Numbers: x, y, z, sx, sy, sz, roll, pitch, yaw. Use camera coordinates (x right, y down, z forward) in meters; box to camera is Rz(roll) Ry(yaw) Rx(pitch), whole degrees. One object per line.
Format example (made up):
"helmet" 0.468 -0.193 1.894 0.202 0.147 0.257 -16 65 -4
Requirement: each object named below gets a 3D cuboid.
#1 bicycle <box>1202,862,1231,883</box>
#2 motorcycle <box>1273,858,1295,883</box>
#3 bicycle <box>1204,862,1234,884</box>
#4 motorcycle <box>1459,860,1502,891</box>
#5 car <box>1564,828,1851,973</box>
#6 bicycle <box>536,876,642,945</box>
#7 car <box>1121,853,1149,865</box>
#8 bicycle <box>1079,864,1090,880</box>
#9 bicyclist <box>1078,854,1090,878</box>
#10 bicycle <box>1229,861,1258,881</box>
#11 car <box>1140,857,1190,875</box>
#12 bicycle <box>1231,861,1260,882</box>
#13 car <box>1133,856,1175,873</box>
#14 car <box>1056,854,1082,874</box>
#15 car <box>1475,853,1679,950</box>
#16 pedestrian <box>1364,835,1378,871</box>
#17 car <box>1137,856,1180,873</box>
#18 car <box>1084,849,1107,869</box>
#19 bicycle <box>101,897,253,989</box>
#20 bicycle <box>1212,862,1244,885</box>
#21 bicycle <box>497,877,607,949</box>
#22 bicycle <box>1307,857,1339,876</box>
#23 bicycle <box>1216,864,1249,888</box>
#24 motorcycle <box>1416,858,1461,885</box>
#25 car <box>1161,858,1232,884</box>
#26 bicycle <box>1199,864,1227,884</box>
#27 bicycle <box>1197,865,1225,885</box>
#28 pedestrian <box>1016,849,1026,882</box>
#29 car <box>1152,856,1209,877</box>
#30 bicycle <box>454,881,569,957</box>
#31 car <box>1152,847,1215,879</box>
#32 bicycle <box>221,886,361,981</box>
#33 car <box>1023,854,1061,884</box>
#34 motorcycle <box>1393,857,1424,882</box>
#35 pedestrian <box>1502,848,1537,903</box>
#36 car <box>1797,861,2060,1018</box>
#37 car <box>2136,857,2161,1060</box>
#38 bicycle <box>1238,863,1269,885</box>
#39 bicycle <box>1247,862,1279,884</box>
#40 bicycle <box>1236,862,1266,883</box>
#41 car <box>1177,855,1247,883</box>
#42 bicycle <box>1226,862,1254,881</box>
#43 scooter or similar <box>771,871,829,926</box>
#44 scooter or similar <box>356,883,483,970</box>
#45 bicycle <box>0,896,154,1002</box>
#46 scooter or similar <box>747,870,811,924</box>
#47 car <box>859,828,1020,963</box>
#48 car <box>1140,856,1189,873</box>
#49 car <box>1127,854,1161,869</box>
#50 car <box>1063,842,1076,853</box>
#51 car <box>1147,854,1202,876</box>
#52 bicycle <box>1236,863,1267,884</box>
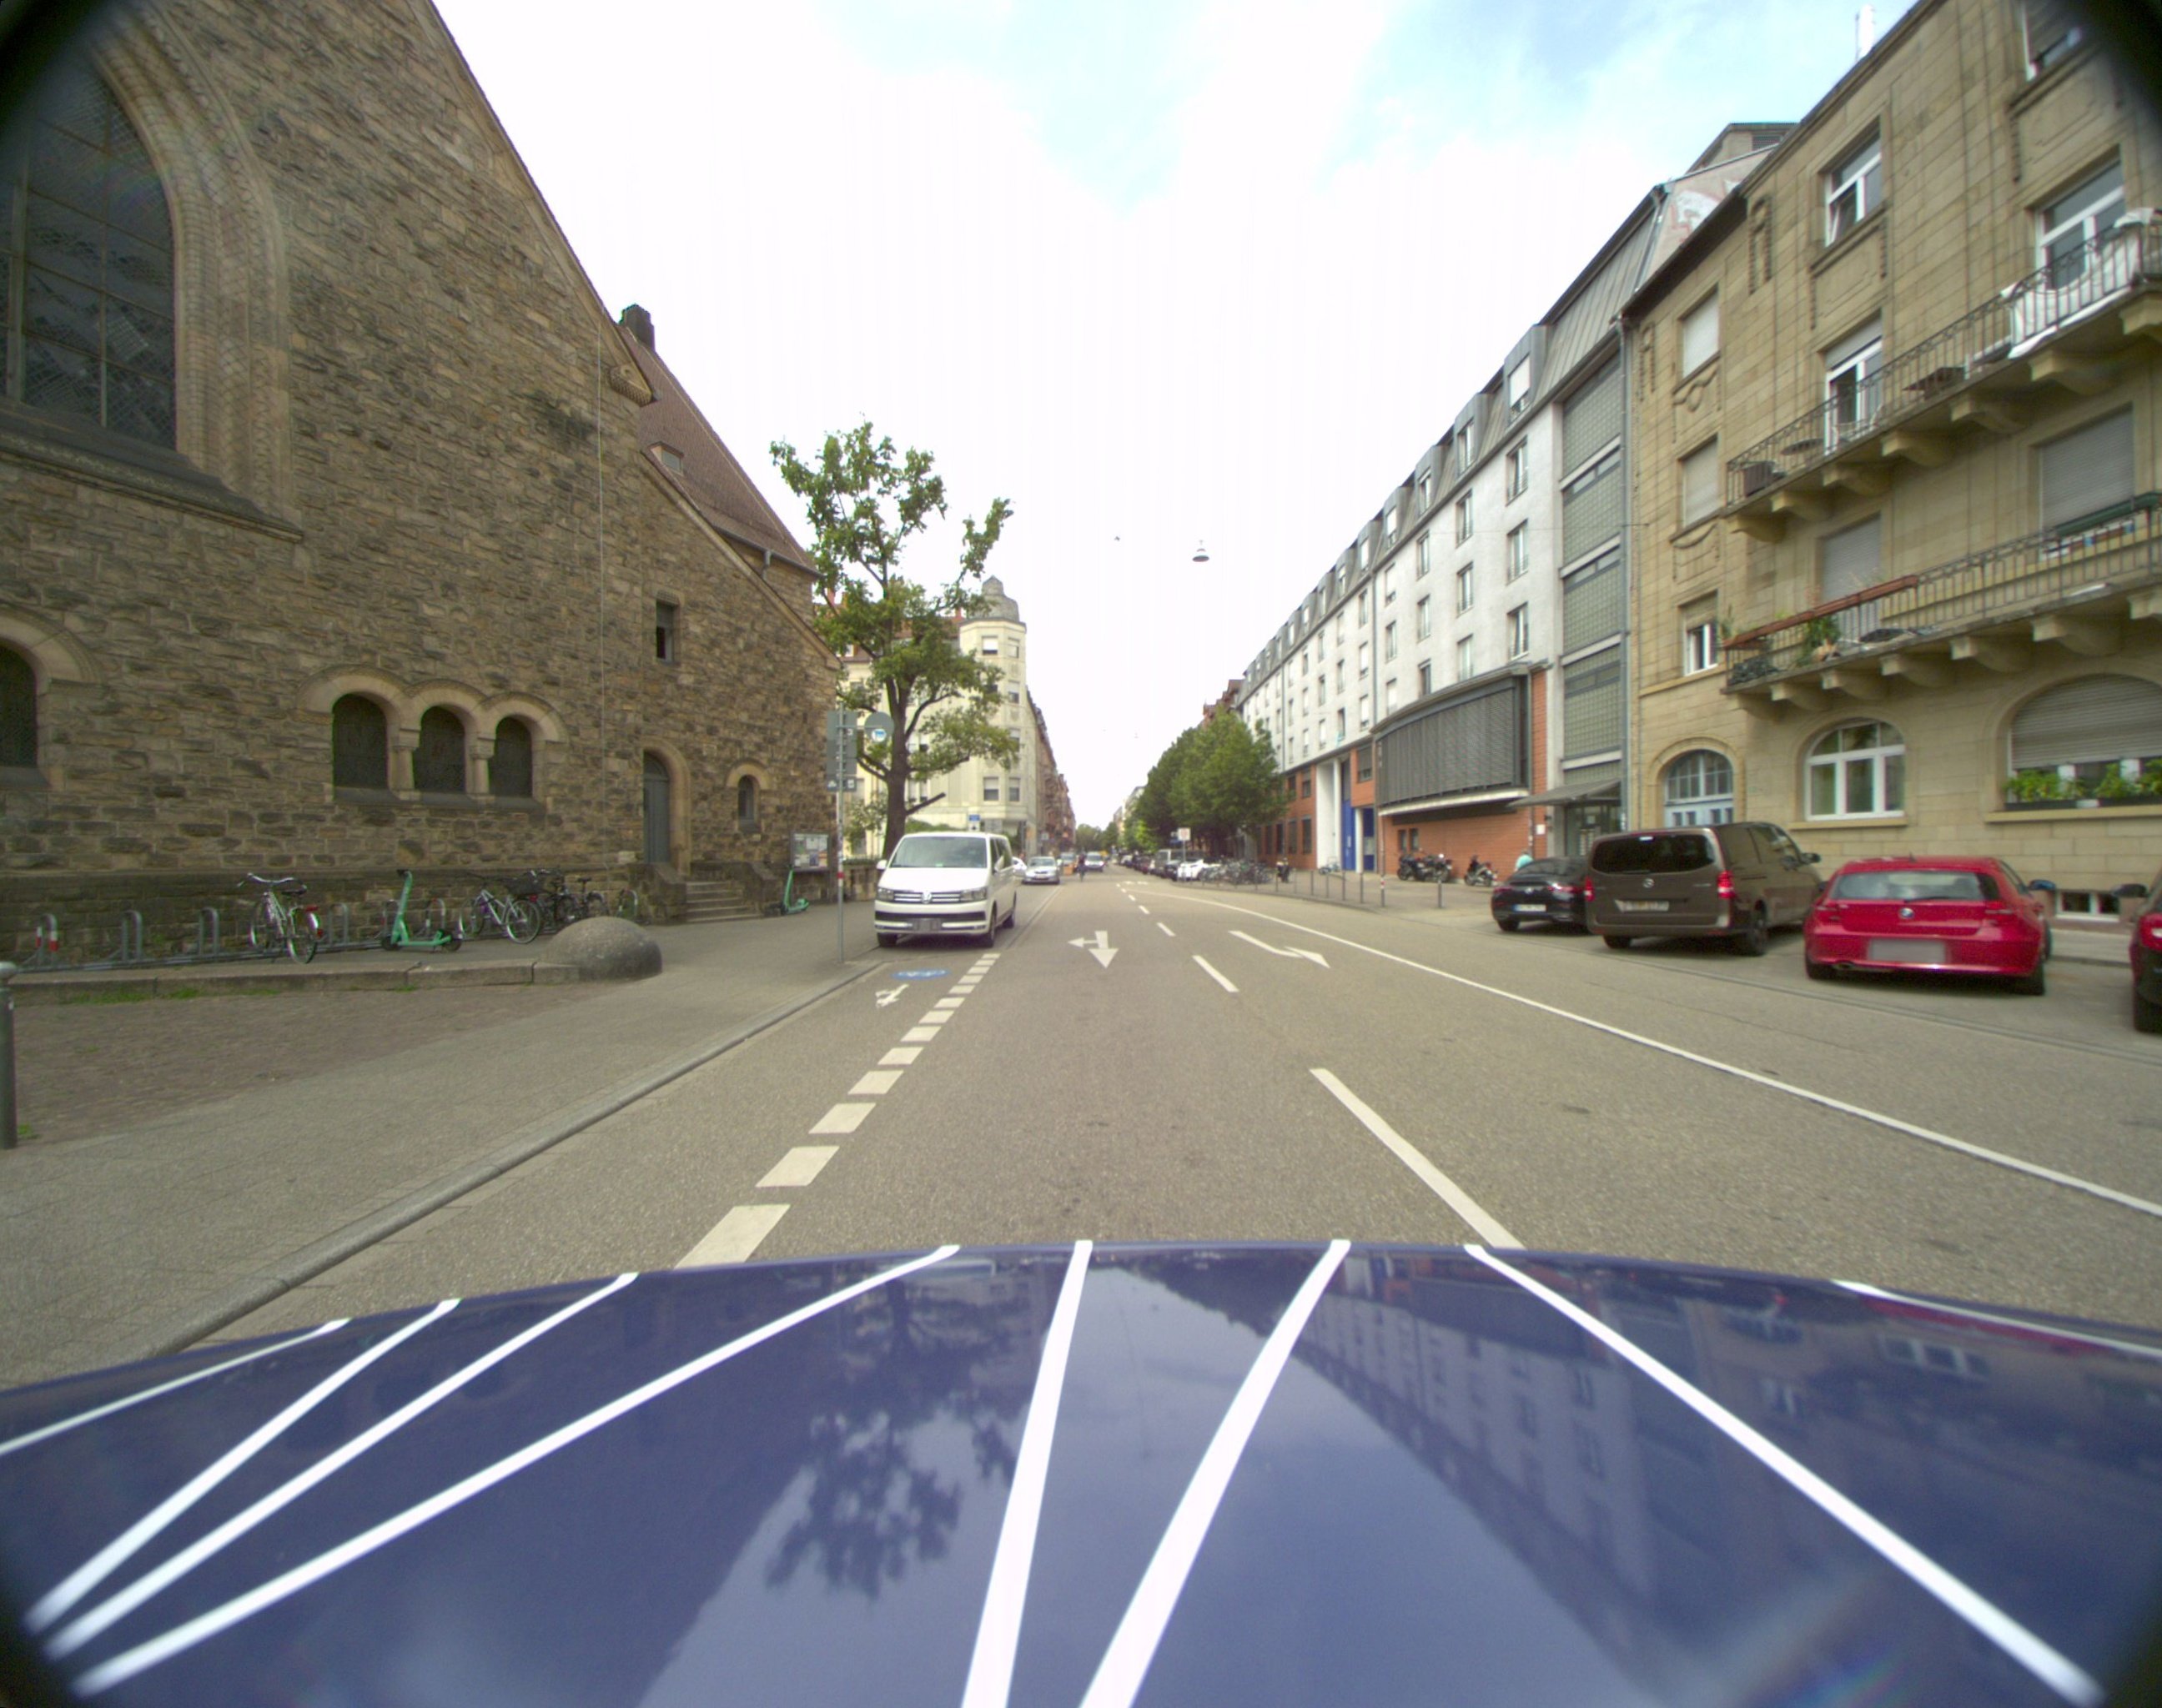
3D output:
"bicycle" 7.034 0.972 39.410 1.409 1.020 0.402 -3 0 3
"motorcycle" 9.748 0.781 36.561 0.585 1.166 1.780 -2 0 3
"bicycle" 7.028 0.962 38.768 1.409 1.032 0.402 -3 0 3
"motorcycle" 14.210 0.740 27.091 0.585 1.042 1.794 -2 0 2
"car" 10.226 0.587 12.273 5.280 1.899 2.116 -1 0 -33
"bicycle" -8.475 0.950 13.084 1.778 1.105 0.547 0 0 20
"car" 8.187 0.748 114.440 4.012 1.746 1.687 -1 -1 -32
"bicycle" 0.203 1.063 45.042 0.586 0.927 1.783 -1 -1 2
"bicyclist" 0.197 0.722 45.174 0.649 1.408 1.094 -1 0 2
"bicycle" 8.497 0.874 39.696 1.409 1.020 0.402 -1 0 3
"car" 7.070 1.004 63.712 4.012 1.381 1.592 -1 -1 -32
"bicycle" 8.493 0.892 39.210 1.409 1.020 0.402 -1 0 3
"car" 7.429 1.046 76.895 4.012 1.558 1.687 -1 -1 -32
"car" -1.057 0.879 67.872 1.853 1.661 4.008 -1 -1 5
"car" 9.917 0.841 15.052 4.679 1.401 1.895 -4 0 -38
"pedestrian" 16.309 -0.060 42.776 0.729 2.002 0.783 0 0 20
"car" 7.615 1.009 74.324 4.012 1.558 1.687 -1 -1 -32
"car" 1.434 0.505 74.268 1.942 1.913 4.008 -1 -1 5
"bicycle" -10.507 1.000 8.826 1.778 0.951 0.547 0 0 20
"bicycle" 7.120 0.961 36.765 1.409 1.032 0.402 -3 0 3
"bicycle" -8.684 0.937 12.467 1.771 1.105 0.547 0 0 20
"bicycle" 14.093 0.733 44.221 1.613 0.920 0.932 -6 -1 13
"bicycle" 7.158 1.021 35.872 1.409 1.032 0.402 -3 0 3
"motorcycle" 14.450 0.693 30.792 0.585 1.042 1.965 -2 0 -10
"car" 7.166 1.027 47.000 4.324 1.460 1.713 -1 0 -33
"bicycle" 7.068 1.069 40.683 1.409 1.020 0.402 -3 0 3
"bicycle" 7.087 1.127 41.492 1.409 1.020 0.402 -3 0 3
"pedestrian" -3.142 0.616 39.754 0.468 1.725 0.410 0 0 0
"car" 7.269 0.892 55.611 4.012 1.438 1.621 -1 -1 -32
"bicycle" -8.915 0.996 11.894 1.778 1.105 0.547 0 0 20
"car" 7.121 0.600 52.725 4.011 1.986 1.857 -3 1 -30
"bicycle" -10.057 0.974 9.673 1.778 1.105 0.547 0 0 20
"car" -1.992 0.744 39.693 1.759 1.460 4.418 0 0 0
"motorcycle" 14.296 0.685 33.212 0.585 1.042 1.657 -2 0 0
"pedestrian" 12.043 0.580 20.875 0.662 1.477 0.509 -1 0 -5
"car" 10.115 0.816 8.996 4.020 1.401 1.792 -1 0 -38
"car" 10.234 0.791 6.294 4.004 1.494 1.627 -1 0 -34
"bicycle" 8.469 0.980 37.372 1.409 1.020 0.402 -1 0 3
"bicycle" 8.658 0.898 36.125 1.409 1.020 0.402 -1 0 3
"bicycle" 8.570 0.930 38.392 1.409 1.020 0.402 -1 0 3
"car" 7.690 0.831 44.488 4.013 1.536 1.598 -1 0 -33
"bicycle" 8.571 0.935 40.980 1.409 1.020 0.402 -1 0 3
"scooter or similar" -6.557 1.006 17.792 0.545 1.200 1.444 0 0 14
"scooter or similar" -9.404 1.000 10.796 1.778 1.133 0.547 0 0 20
"bicycle" -10.814 0.981 8.143 1.778 0.952 0.547 2 1 20
"scooter or similar" -7.166 0.991 18.097 0.545 1.200 1.483 0 0 21
"car" -2.330 0.616 13.986 2.019 2.017 5.123 1 0 0
"car" 7.265 0.914 66.104 4.012 1.445 1.687 -1 -1 -32
"car" 7.968 0.948 96.342 4.012 1.846 1.687 -1 -1 -32
"car" -1.725 -0.893 112.029 1.854 1.505 4.006 -1 -1 -1
"car" 7.208 0.813 58.273 4.012 1.605 1.708 -1 -1 -32
"bicycle" 8.499 0.956 37.907 1.409 1.020 0.402 -1 0 3
